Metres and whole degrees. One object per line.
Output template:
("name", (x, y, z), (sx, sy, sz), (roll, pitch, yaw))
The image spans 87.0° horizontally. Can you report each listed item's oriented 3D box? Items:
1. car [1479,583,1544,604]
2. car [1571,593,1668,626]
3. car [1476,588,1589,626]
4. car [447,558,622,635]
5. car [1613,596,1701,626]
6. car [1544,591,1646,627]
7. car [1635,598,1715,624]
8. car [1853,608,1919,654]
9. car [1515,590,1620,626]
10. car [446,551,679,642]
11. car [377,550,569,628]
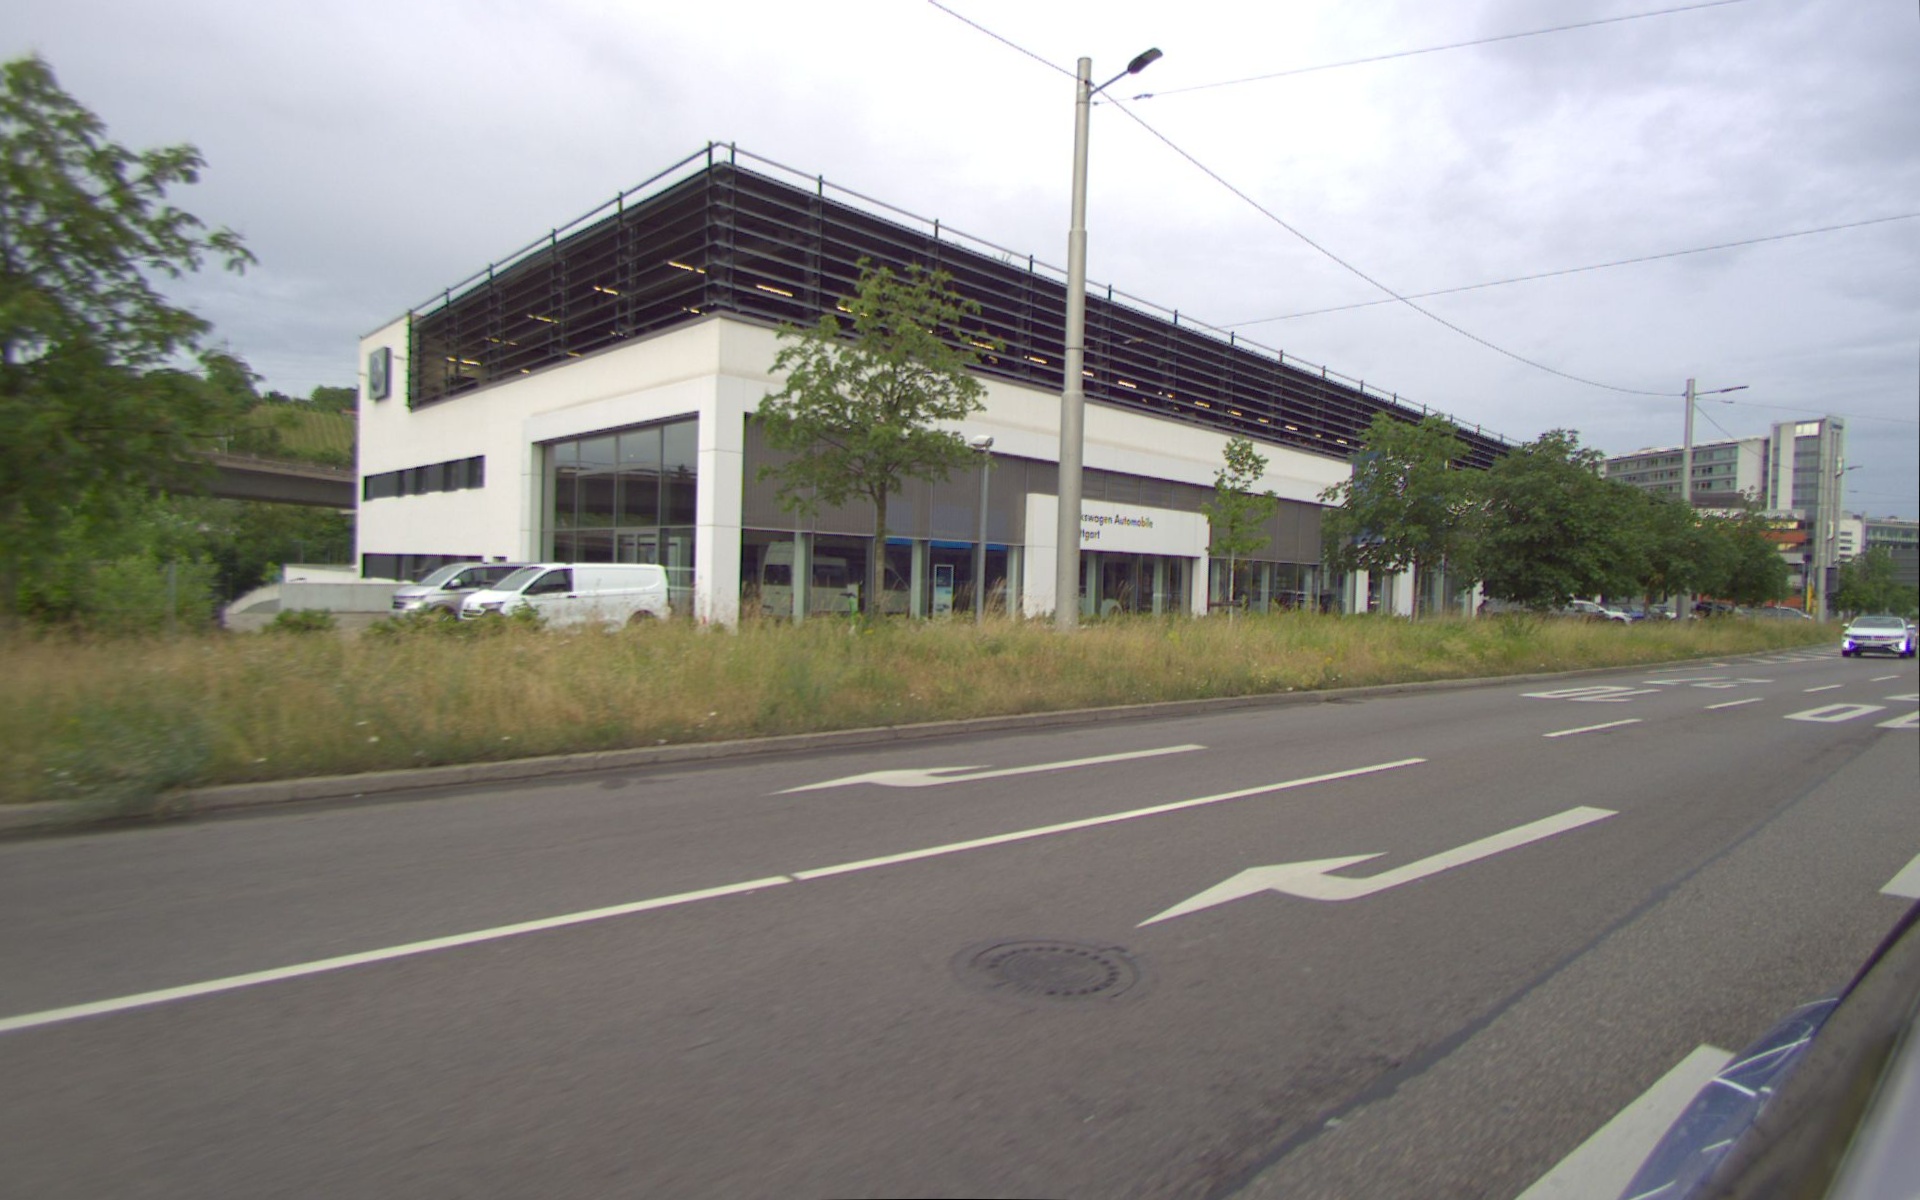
("car", (41.920, -0.506, 76.931), (1.755, 1.527, 3.992), (1, -1, -42))
("car", (37.440, 0.506, 57.561), (4.125, 1.587, 1.794), (3, 3, 12))
("car", (28.910, 0.311, 51.240), (4.562, 1.587, 1.843), (3, 3, 16))
("car", (-11.416, -0.069, 27.292), (3.933, 1.924, 1.995), (1, -1, -44))
("car", (43.104, 0.659, 62.656), (4.033, 1.587, 1.795), (3, 3, 10))
("car", (34.739, 0.488, 55.501), (4.295, 1.646, 1.848), (3, 3, 16))
("car", (49.196, 0.724, 69.739), (4.039, 1.483, 1.742), (3, 3, 13))
("car", (33.570, 1.099, 36.397), (3.772, 1.513, 1.876), (1, 0, -44))
("car", (32.020, 0.411, 53.436), (4.313, 1.587, 1.791), (3, 3, 15))
("car", (-9.800, -0.073, 25.266), (2.044, 2.039, 5.008), (1, 0, 45))
("car", (-14.007, -0.258, 29.295), (1.945, 2.077, 4.633), (-1, -1, 43))
